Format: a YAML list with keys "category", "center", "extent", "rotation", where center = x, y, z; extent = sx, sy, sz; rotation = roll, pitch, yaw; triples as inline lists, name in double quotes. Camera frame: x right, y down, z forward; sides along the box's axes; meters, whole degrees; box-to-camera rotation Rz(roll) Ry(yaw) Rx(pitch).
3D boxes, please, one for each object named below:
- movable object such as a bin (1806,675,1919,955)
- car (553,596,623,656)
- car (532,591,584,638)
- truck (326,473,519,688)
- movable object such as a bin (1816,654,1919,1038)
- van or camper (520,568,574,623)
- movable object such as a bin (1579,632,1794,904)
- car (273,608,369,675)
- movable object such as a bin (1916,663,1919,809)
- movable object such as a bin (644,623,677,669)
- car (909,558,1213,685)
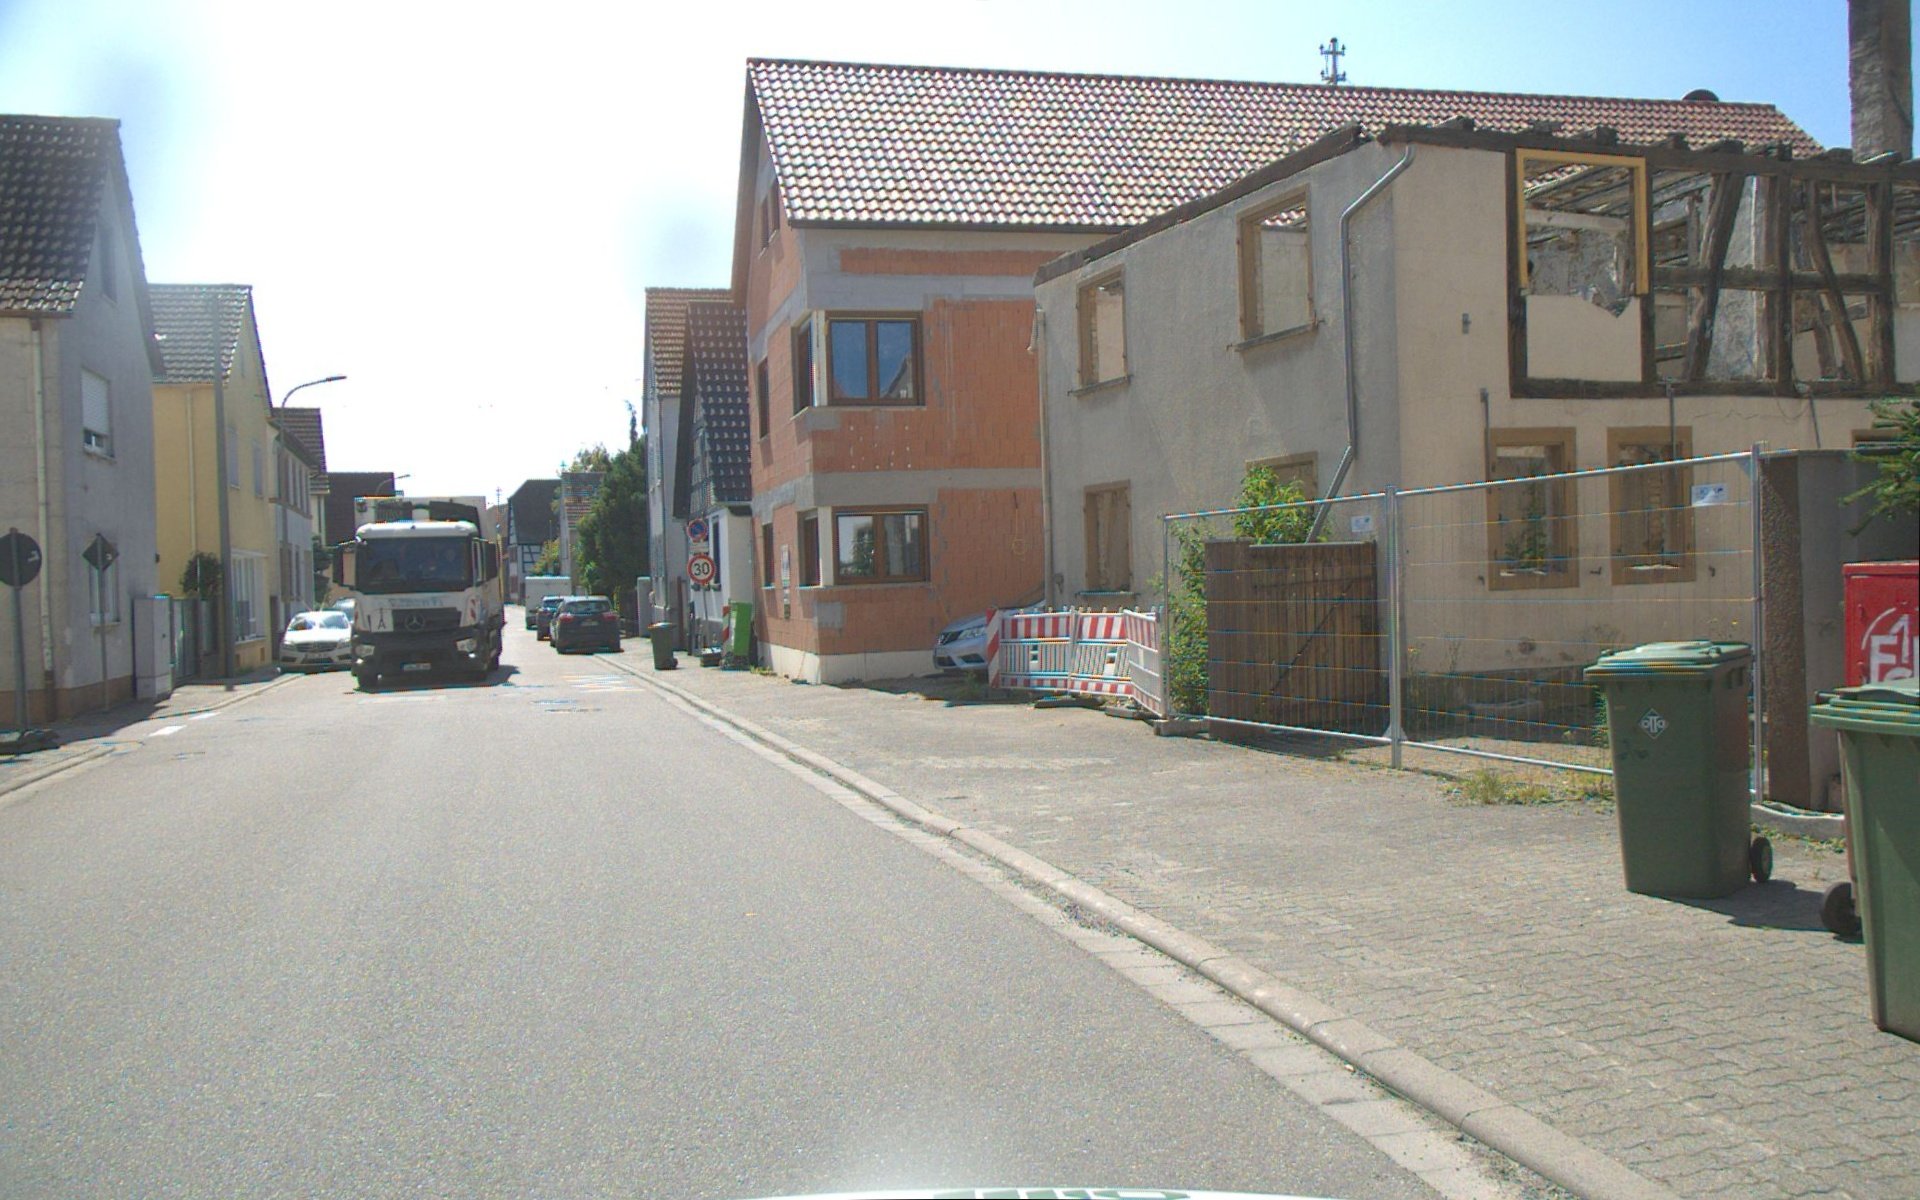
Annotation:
- category: "movable object such as a bin"
  center: [3.547, 0.789, 6.226]
  extent: [0.436, 0.966, 0.461]
  rotation: [-2, 1, -8]
- category: "car"
  center: [-11.074, 0.725, 49.052]
  extent: [1.768, 1.587, 4.612]
  rotation: [-3, 1, -15]
- category: "car"
  center: [-15.732, 0.531, 64.850]
  extent: [1.763, 1.659, 4.347]
  rotation: [-3, 1, -12]
- category: "truck"
  center: [-11.214, -0.389, 35.509]
  extent: [2.648, 3.815, 10.836]
  rotation: [-2, 1, -12]
- category: "movable object such as a bin"
  center: [3.176, 0.740, 5.111]
  extent: [0.674, 1.111, 0.637]
  rotation: [-2, 1, -8]
- category: "van or camper"
  center: [-21.966, -0.240, 87.879]
  extent: [2.482, 2.743, 4.534]
  rotation: [-3, 1, -17]
- category: "movable object such as a bin"
  center: [3.261, 0.713, 7.415]
  extent: [0.660, 1.090, 0.757]
  rotation: [-1, 1, 42]
- category: "car"
  center: [-16.079, 0.999, 41.781]
  extent: [1.805, 1.489, 4.252]
  rotation: [-2, 1, -16]
- category: "movable object such as a bin"
  center: [4.015, 0.735, 6.263]
  extent: [0.456, 0.987, 0.495]
  rotation: [-2, 1, -9]
- category: "movable object such as a bin"
  center: [-6.299, 0.961, 34.793]
  extent: [0.527, 0.929, 0.552]
  rotation: [-3, 1, 1]
- category: "car"
  center: [1.479, 0.274, 24.376]
  extent: [4.031, 1.533, 1.858]
  rotation: [-4, 1, -22]
